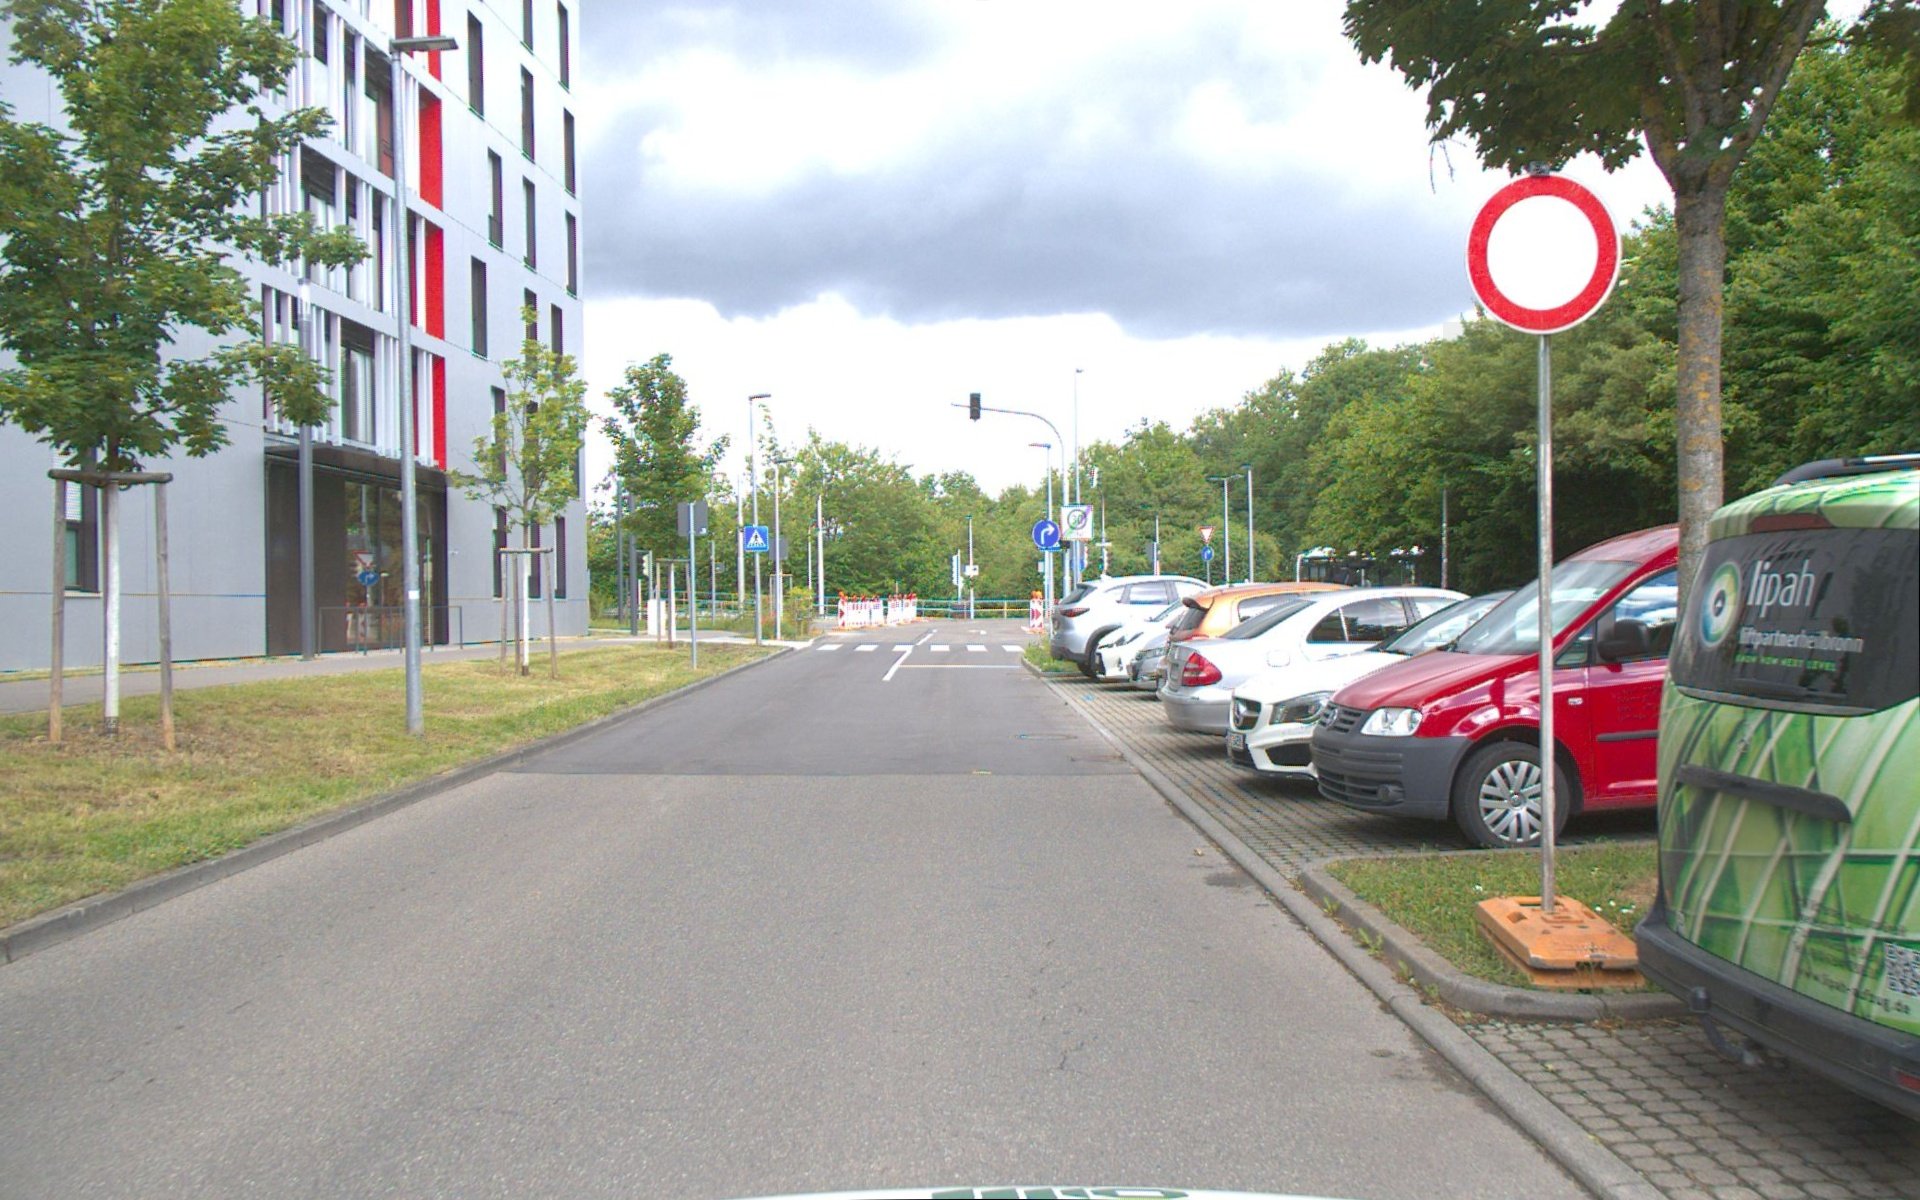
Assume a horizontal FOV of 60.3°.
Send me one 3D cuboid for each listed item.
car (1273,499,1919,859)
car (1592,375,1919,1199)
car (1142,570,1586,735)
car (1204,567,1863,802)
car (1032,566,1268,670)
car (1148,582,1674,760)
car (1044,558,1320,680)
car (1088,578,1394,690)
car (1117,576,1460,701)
[{"bbox_3d":[4.242,0.411,10.008,4.291,1.937,1.935,0,0,-3],"label":"car"},{"bbox_3d":[4.269,0.355,4.517,4.292,1.937,1.915,-3,1,-3],"label":"car"},{"bbox_3d":[4.232,0.519,17.806,4.291,1.646,1.915,0,0,-3],"label":"car"},{"bbox_3d":[4.151,0.581,12.454,4.291,1.601,1.915,0,0,-3],"label":"car"},{"bbox_3d":[3.603,0.324,31.885,4.291,1.937,1.915,0,0,-3],"label":"car"},{"bbox_3d":[4.012,0.597,15.197,4.291,1.500,1.915,0,0,-3],"label":"car"},{"bbox_3d":[3.620,0.292,27.500,4.291,1.937,1.915,0,0,-3],"label":"car"},{"bbox_3d":[4.191,0.480,25.119,4.291,1.610,1.915,0,0,-3],"label":"car"},{"bbox_3d":[4.427,0.493,22.709,4.291,1.610,1.915,0,0,-3],"label":"car"}]
